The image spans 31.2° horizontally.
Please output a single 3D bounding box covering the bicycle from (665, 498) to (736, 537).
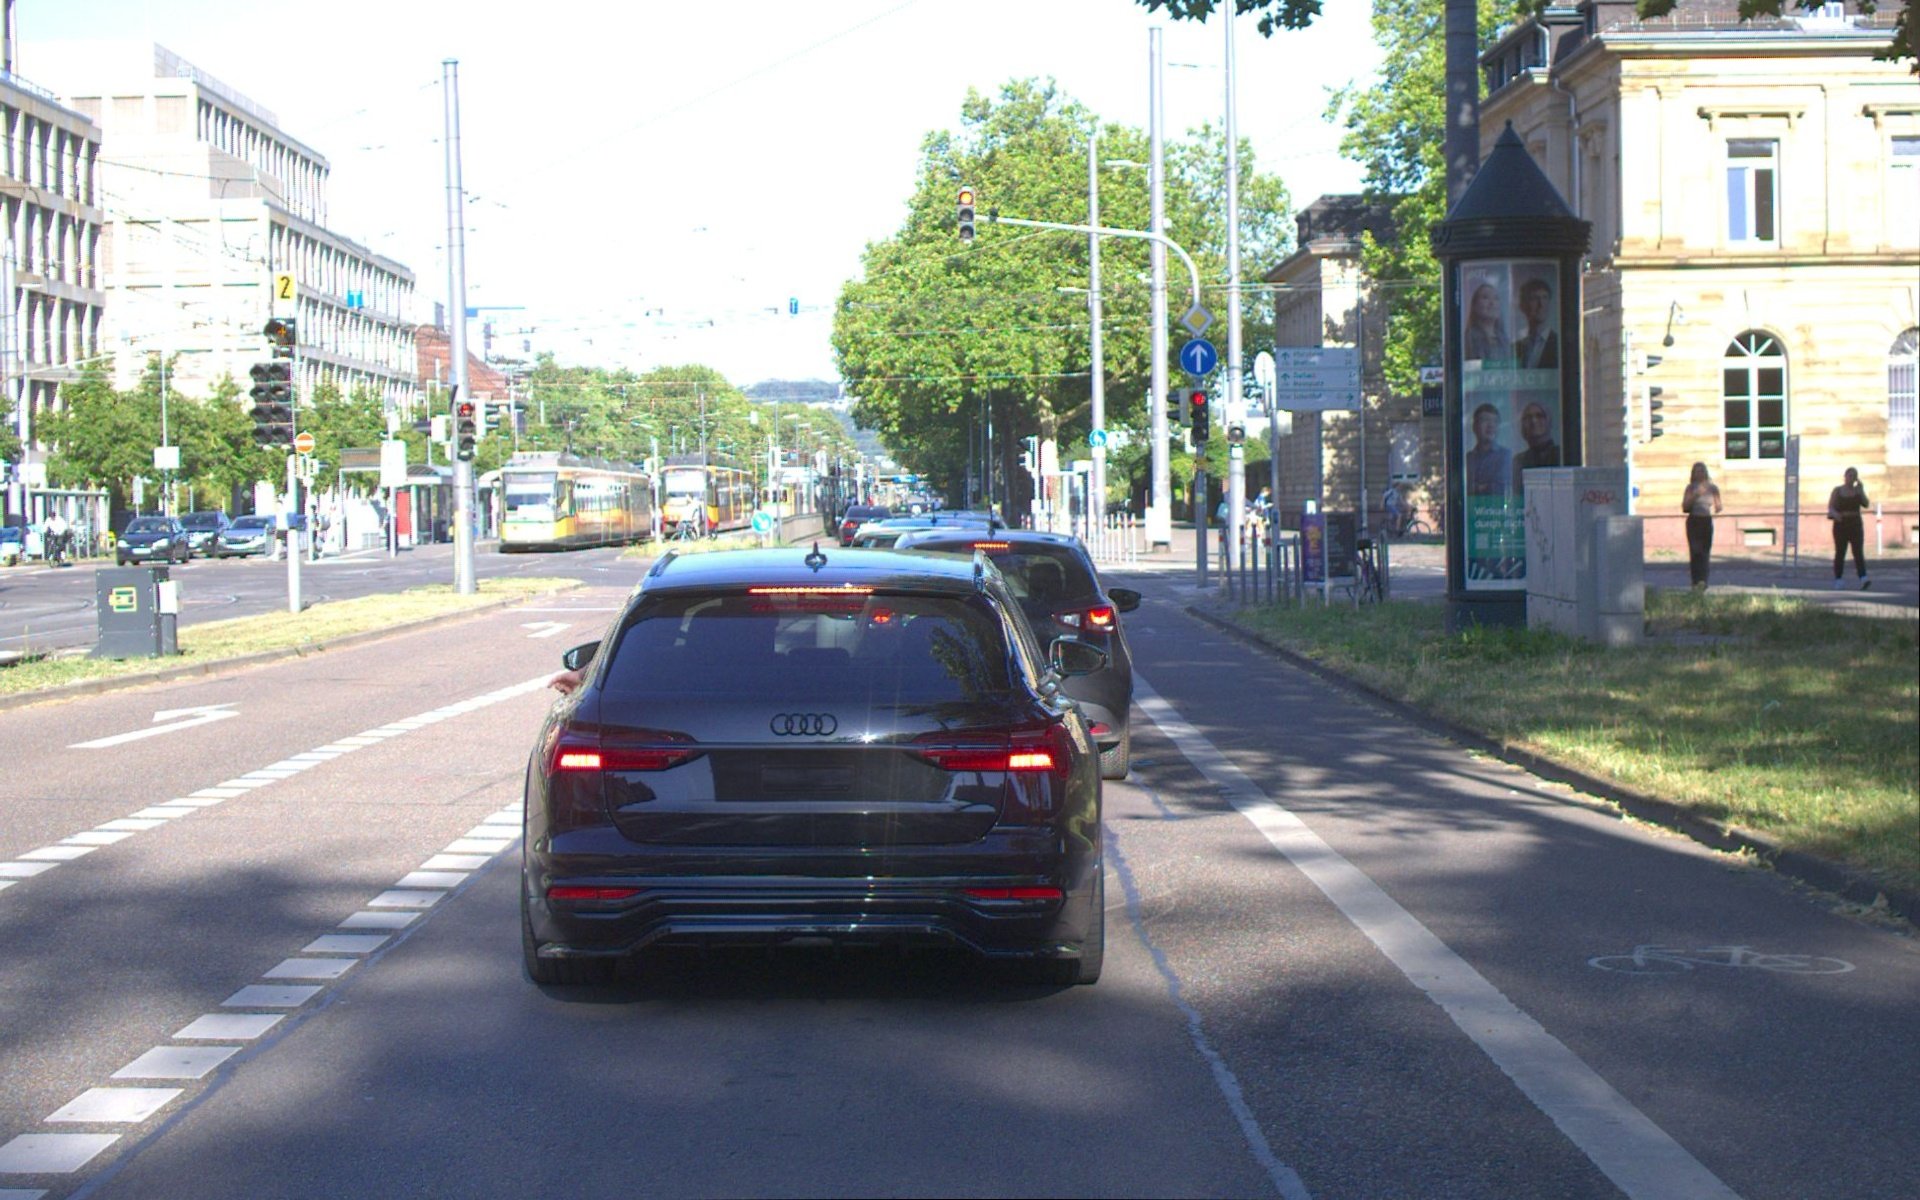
[{"bbox_3d":[-7.769,-2.474,102.967,2.006,1.104,0.764,-3,2,-40],"label":"bicycle"}]

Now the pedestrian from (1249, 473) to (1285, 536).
[{"bbox_3d":[9.159,-2.856,102.596,0.979,1.859,0.827,-1,2,-1],"label":"pedestrian"}]

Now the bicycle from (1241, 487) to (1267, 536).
[{"bbox_3d":[6.994,-2.104,81.774,0.434,1.141,1.340,-1,2,-2],"label":"bicycle"}]

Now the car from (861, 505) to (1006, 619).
[{"bbox_3d":[-0.358,-0.549,47.106,1.902,1.481,4.145,0,1,0],"label":"car"}]

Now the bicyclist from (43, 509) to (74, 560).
[{"bbox_3d":[-27.670,-2.009,105.484,0.685,1.557,0.785,-1,2,1],"label":"bicyclist"}]

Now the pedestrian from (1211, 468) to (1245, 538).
[{"bbox_3d":[6.367,-2.314,81.740,0.682,1.655,0.758,-1,2,-2],"label":"pedestrian"}]

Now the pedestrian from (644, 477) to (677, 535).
[{"bbox_3d":[-9.070,-2.835,104.054,0.740,1.735,0.663,-2,2,-32],"label":"pedestrian"}]

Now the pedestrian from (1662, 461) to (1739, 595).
[{"bbox_3d":[9.614,-0.936,44.657,0.769,1.703,1.042,-1,2,1],"label":"pedestrian"}]

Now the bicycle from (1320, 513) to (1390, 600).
[{"bbox_3d":[4.985,-0.564,43.496,0.540,1.058,1.772,-1,2,-4],"label":"bicycle"}]

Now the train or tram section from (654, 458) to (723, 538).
[{"bbox_3d":[-12.212,-4.628,155.235,2.608,3.439,11.134,-1,2,-2],"label":"train or tram section"}]

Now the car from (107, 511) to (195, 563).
[{"bbox_3d":[-24.322,-1.913,103.469,1.820,1.452,4.167,-1,2,-3],"label":"car"}]

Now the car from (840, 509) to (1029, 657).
[{"bbox_3d":[-0.263,-0.222,36.777,1.902,1.481,4.145,0,1,0],"label":"car"}]

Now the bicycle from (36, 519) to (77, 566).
[{"bbox_3d":[-27.733,-1.773,105.509,0.685,1.377,1.947,-1,2,1],"label":"bicycle"}]

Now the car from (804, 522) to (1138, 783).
[{"bbox_3d":[0.054,0.253,21.738,1.902,1.481,4.145,0,1,0],"label":"car"}]

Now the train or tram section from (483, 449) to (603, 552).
[{"bbox_3d":[-14.951,-3.625,124.299,2.813,3.477,13.205,-1,2,-1],"label":"train or tram section"}]

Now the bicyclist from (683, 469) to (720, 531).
[{"bbox_3d":[-7.734,-2.994,102.978,0.757,1.812,0.764,-3,2,-39],"label":"bicyclist"}]

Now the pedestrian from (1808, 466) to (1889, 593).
[{"bbox_3d":[11.489,-0.917,44.475,0.769,1.600,0.986,-1,2,1],"label":"pedestrian"}]

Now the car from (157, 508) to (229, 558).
[{"bbox_3d":[-28.763,-2.520,128.983,1.842,1.806,4.113,-1,2,-1],"label":"car"}]

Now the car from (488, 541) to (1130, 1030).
[{"bbox_3d":[-0.456,0.514,12.269,1.902,1.417,4.145,0,1,0],"label":"car"}]

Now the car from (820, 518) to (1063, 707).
[{"bbox_3d":[-0.154,0.049,29.096,1.902,1.481,4.145,0,1,0],"label":"car"}]

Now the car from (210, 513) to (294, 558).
[{"bbox_3d":[-24.288,-2.234,117.999,1.820,1.452,4.541,-1,2,1],"label":"car"}]
